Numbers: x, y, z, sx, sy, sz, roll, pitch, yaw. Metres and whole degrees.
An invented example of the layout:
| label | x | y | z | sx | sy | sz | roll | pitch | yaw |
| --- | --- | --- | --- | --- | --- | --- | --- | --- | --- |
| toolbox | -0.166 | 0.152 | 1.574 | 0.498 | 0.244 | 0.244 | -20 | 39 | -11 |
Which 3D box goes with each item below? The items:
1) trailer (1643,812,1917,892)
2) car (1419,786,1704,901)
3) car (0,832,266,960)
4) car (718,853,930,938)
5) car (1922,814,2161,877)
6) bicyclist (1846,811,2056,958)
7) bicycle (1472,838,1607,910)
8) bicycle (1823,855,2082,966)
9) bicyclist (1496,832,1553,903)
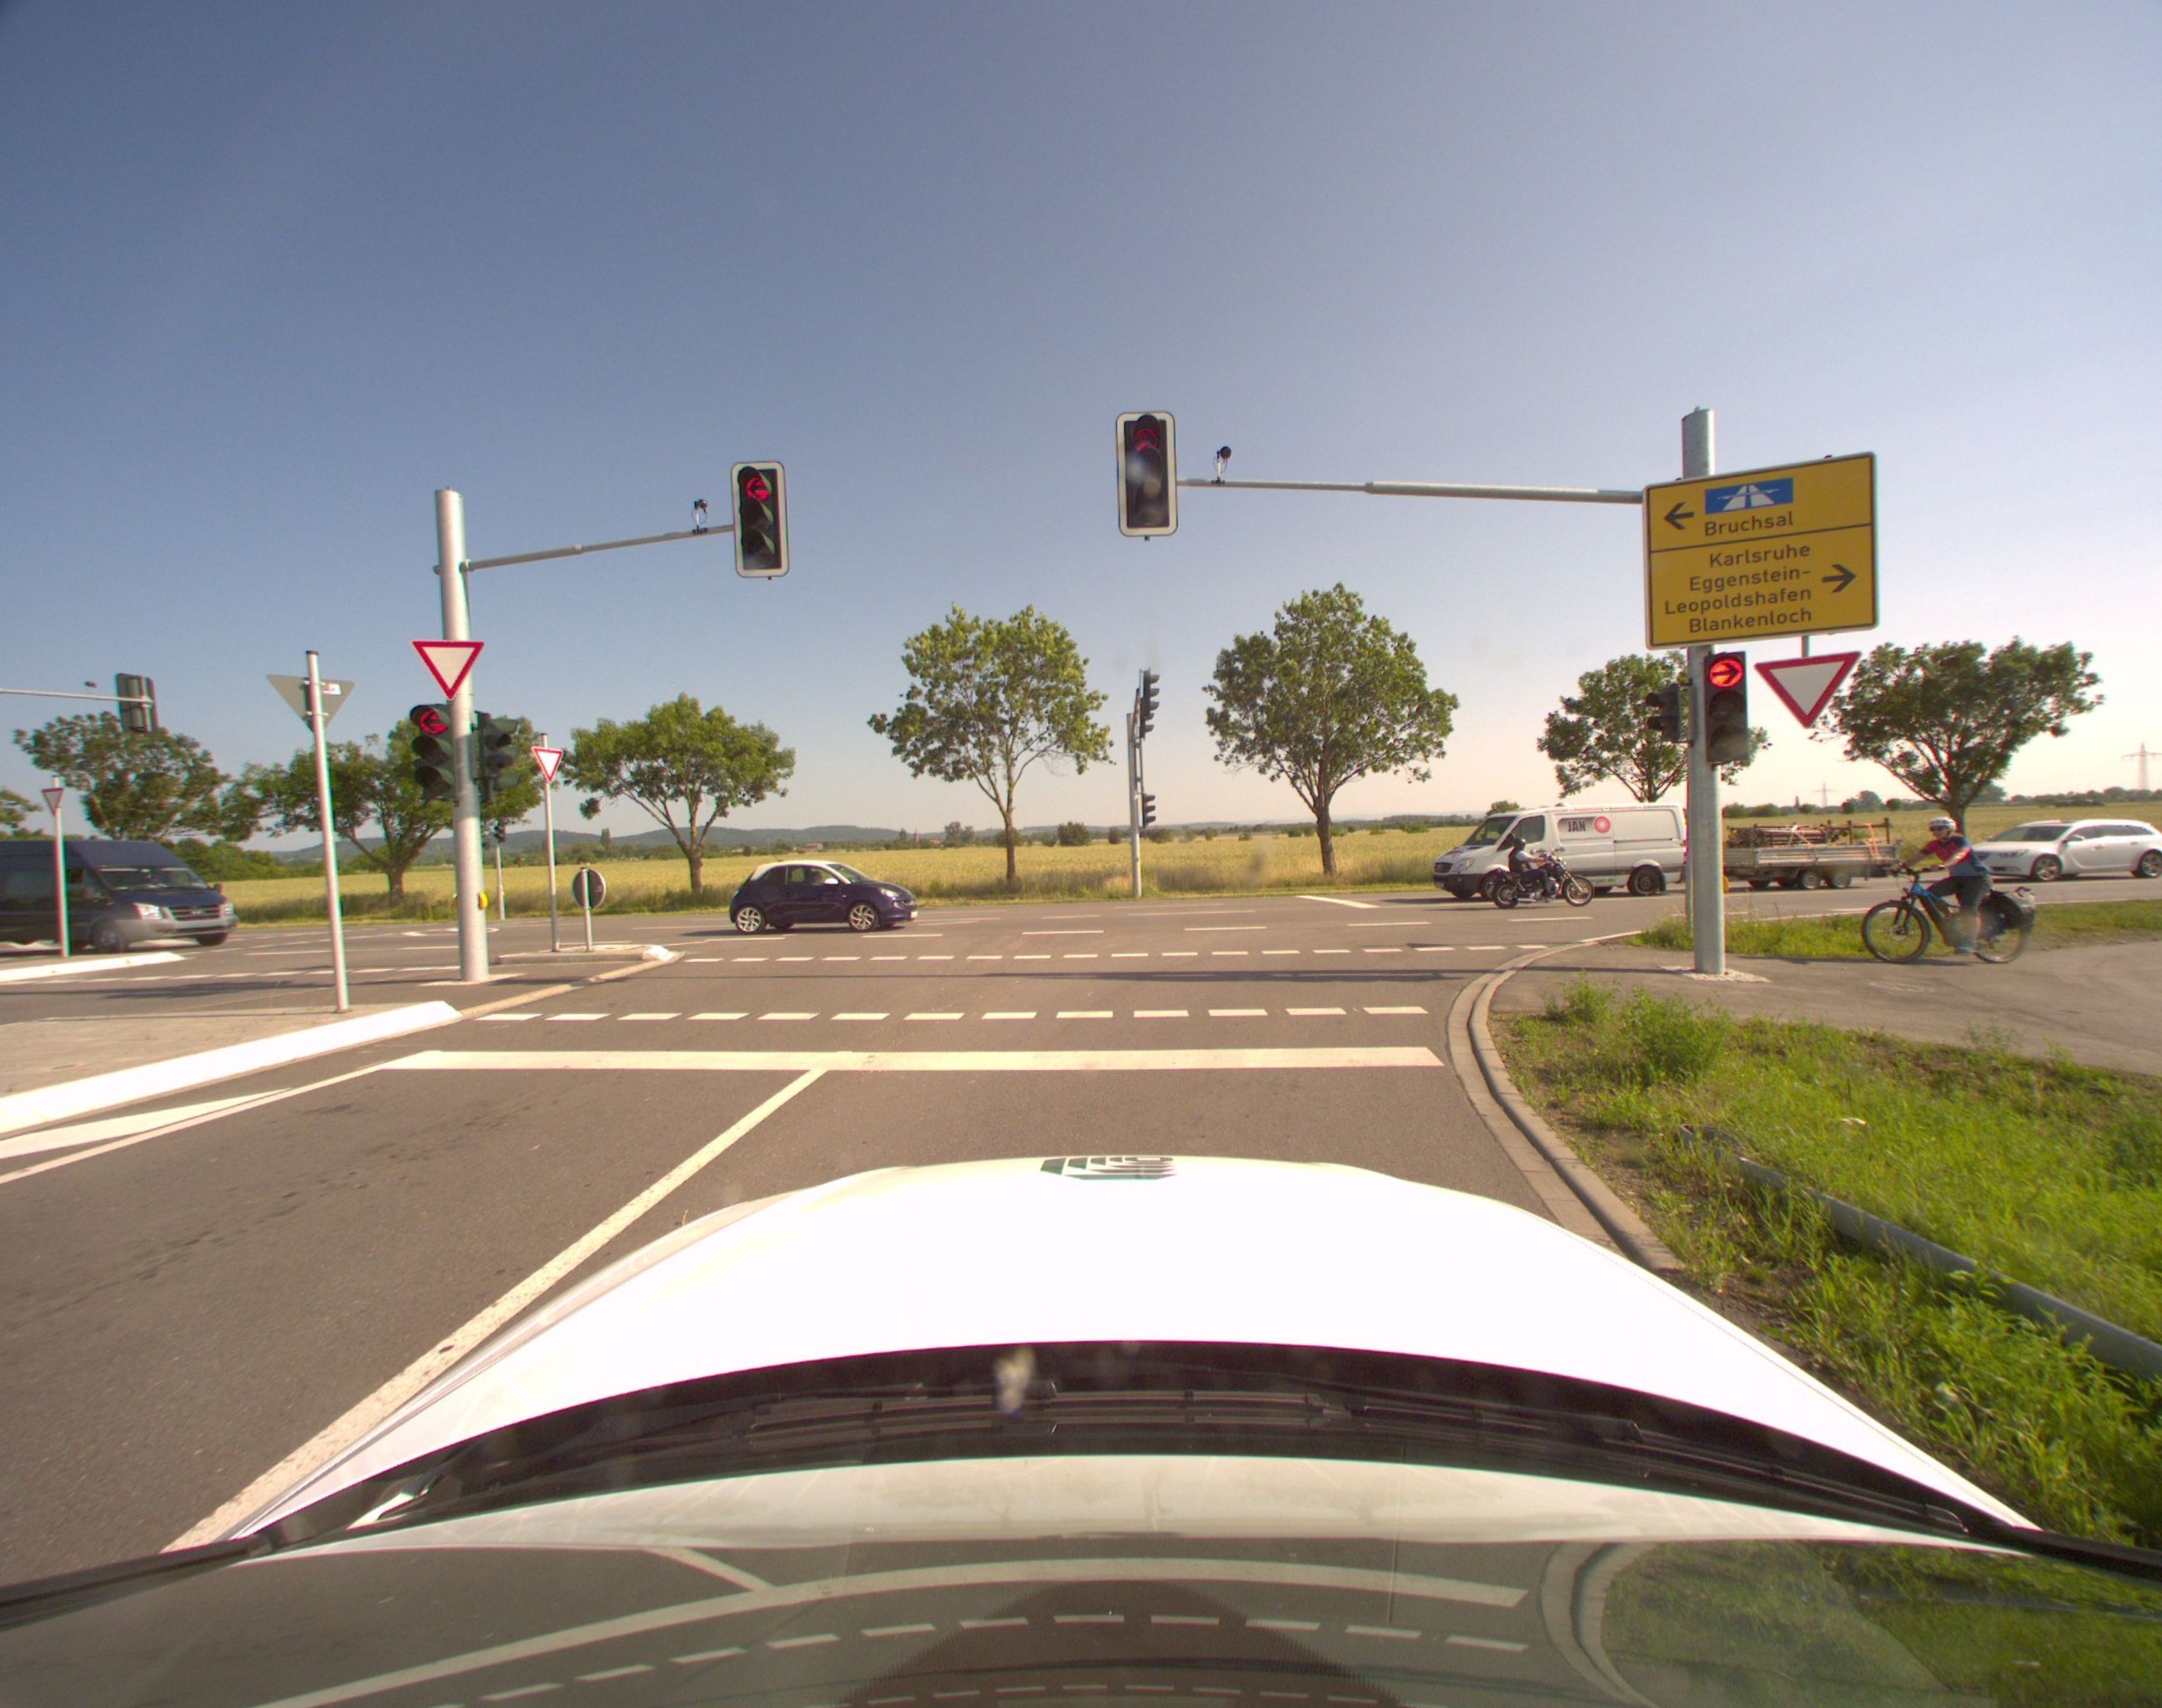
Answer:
| label | x | y | z | sx | sy | sz | roll | pitch | yaw |
| --- | --- | --- | --- | --- | --- | --- | --- | --- | --- |
| trailer | 17.528 | -0.054 | 20.609 | 5.244 | 1.753 | 1.953 | -2 | 0 | 0 |
| car | 11.967 | -0.252 | 20.572 | 5.938 | 2.492 | 2.000 | -3 | -1 | 0 |
| car | -22.330 | 0.940 | 18.605 | 5.701 | 2.622 | 2.038 | -2 | 0 | 7 |
| car | -5.196 | 0.810 | 16.808 | 3.712 | 1.457 | 1.730 | -3 | 1 | 2 |
| car | 24.946 | -0.200 | 20.900 | 4.857 | 1.510 | 1.998 | -1 | -1 | -3 |
| bicyclist | 10.261 | 0.326 | 9.670 | 1.276 | 1.601 | 1.164 | -1 | 1 | -3 |
| bicycle | 9.849 | 0.422 | 17.533 | 2.486 | 1.397 | 0.731 | -3 | -1 | -4 |
| bicycle | 10.221 | 0.639 | 9.610 | 2.151 | 1.186 | 0.889 | -1 | -1 | -3 |
| bicyclist | 9.524 | 0.283 | 17.510 | 0.806 | 1.489 | 0.757 | -1 | -1 | -2 |
